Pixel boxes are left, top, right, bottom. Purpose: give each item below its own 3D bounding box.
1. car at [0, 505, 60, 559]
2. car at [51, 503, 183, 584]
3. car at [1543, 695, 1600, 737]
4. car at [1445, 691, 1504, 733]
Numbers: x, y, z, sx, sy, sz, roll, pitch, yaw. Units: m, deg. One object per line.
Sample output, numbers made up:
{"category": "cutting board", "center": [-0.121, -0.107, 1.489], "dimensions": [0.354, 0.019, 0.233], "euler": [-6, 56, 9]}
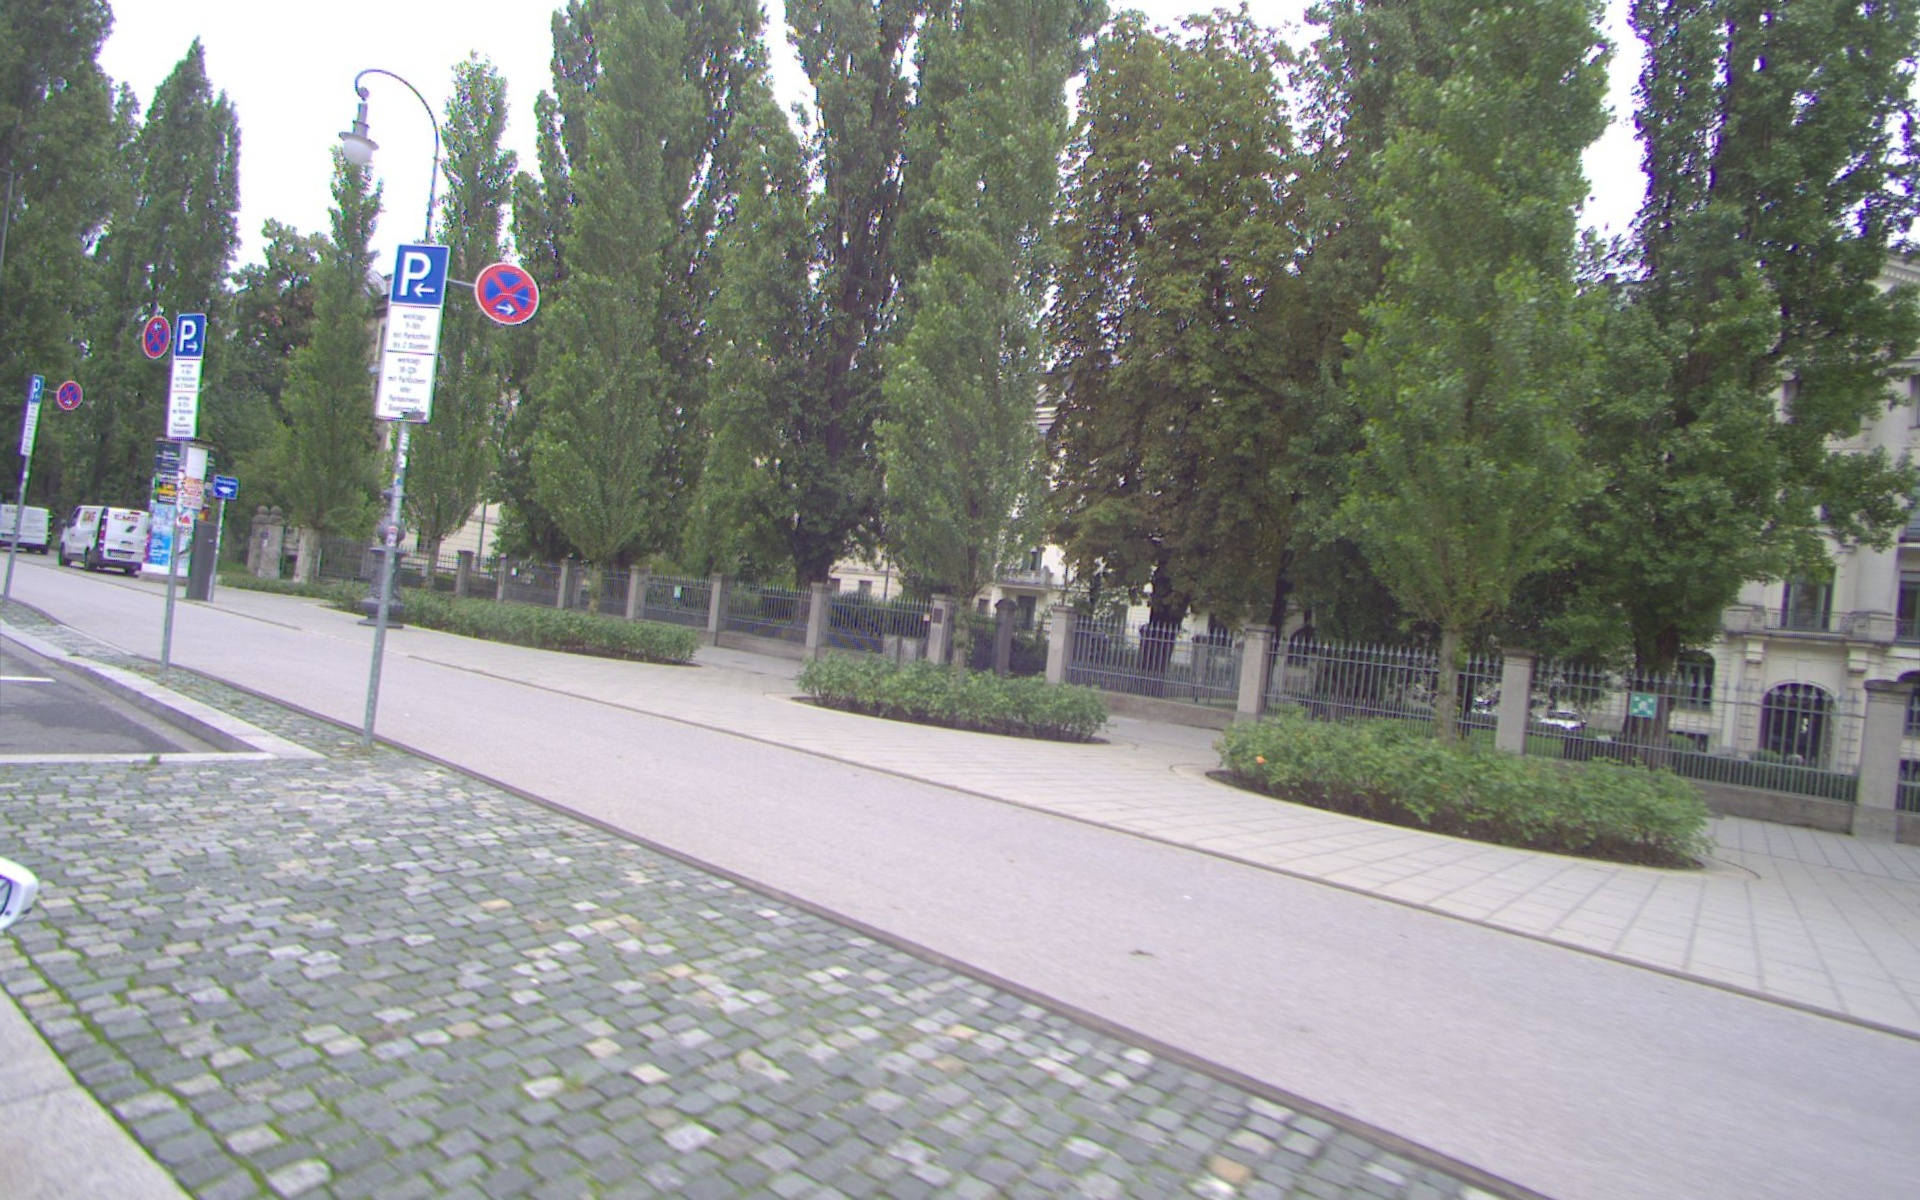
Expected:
{"category": "car", "center": [-40.754, -2.982, 43.402], "dimensions": [5.010, 1.969, 1.993], "euler": [5, -2, 39]}
{"category": "car", "center": [-25.763, -1.762, 30.686], "dimensions": [4.812, 1.966, 1.882], "euler": [6, -3, 37]}
{"category": "car", "center": [28.783, 5.454, 47.294], "dimensions": [1.627, 1.637, 3.985], "euler": [6, -1, 39]}
{"category": "car", "center": [25.503, 5.548, 49.783], "dimensions": [1.773, 1.790, 3.987], "euler": [6, -2, 38]}
